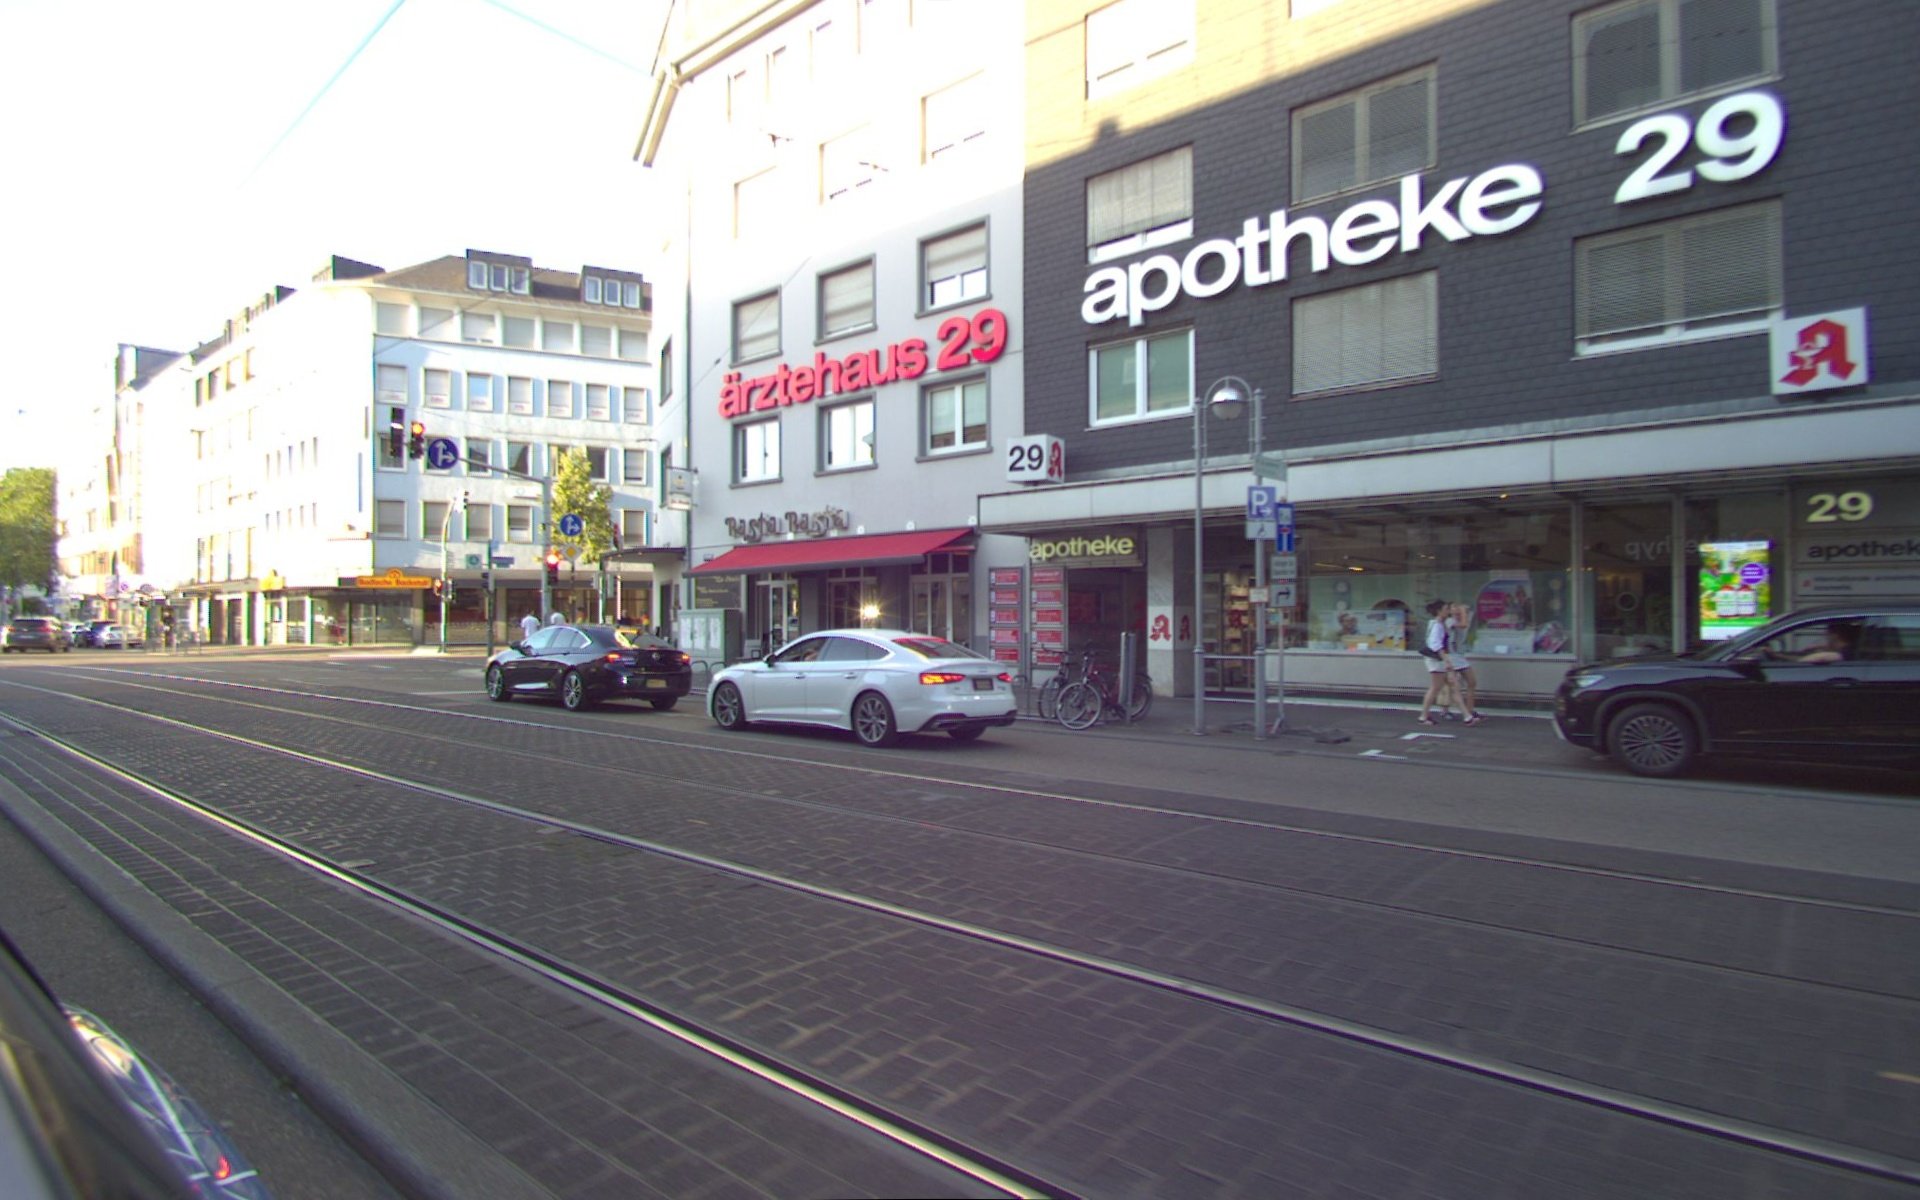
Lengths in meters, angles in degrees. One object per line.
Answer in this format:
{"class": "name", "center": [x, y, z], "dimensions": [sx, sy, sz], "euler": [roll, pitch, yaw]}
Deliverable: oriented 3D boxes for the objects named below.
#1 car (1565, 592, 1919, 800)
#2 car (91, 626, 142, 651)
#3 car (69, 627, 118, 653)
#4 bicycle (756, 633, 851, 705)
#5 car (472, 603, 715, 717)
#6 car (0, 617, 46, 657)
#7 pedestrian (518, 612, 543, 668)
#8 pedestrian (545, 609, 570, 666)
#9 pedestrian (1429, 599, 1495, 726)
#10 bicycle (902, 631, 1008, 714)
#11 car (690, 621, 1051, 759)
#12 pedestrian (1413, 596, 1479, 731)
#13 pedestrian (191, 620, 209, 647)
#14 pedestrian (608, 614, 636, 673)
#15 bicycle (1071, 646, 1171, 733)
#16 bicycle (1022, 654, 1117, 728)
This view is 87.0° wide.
{"class": "car", "center": [8.316, 0.782, 9.080], "dimensions": [4.646, 1.687, 1.909], "euler": [-2, -1, 43]}
{"class": "car", "center": [-46.269, 2.103, 55.484], "dimensions": [3.387, 1.263, 1.615], "euler": [-2, 0, 41]}
{"class": "car", "center": [-49.887, 2.307, 58.266], "dimensions": [3.387, 1.364, 1.615], "euler": [-2, 0, 41]}
{"class": "bicycle", "center": [-2.971, 1.293, 19.406], "dimensions": [0.553, 1.220, 1.871], "euler": [-1, 1, 40]}
{"class": "car", "center": [-6.505, 0.991, 17.700], "dimensions": [4.726, 1.740, 1.972], "euler": [-1, -3, 42]}
{"class": "car", "center": [-42.822, 1.660, 45.701], "dimensions": [4.257, 1.711, 1.804], "euler": [-2, -2, 41]}
{"class": "pedestrian", "center": [-13.631, 1.254, 32.104], "dimensions": [0.628, 1.758, 0.670], "euler": [0, -1, -34]}
{"class": "pedestrian", "center": [-12.973, 1.198, 32.612], "dimensions": [0.628, 1.792, 0.602], "euler": [1, -1, -36]}
{"class": "pedestrian", "center": [6.862, 0.831, 13.826], "dimensions": [0.624, 1.673, 0.675], "euler": [-2, -2, 40]}
{"class": "bicycle", "center": [-0.054, 1.207, 17.336], "dimensions": [0.553, 1.233, 2.090], "euler": [-1, 1, 40]}
{"class": "car", "center": [-1.294, 1.037, 13.119], "dimensions": [4.653, 1.464, 1.973], "euler": [-1, -3, 41]}
{"class": "pedestrian", "center": [6.408, 0.816, 13.340], "dimensions": [0.602, 1.712, 0.614], "euler": [-2, -2, 40]}
{"class": "pedestrian", "center": [-43.349, 1.902, 57.736], "dimensions": [0.621, 1.483, 0.539], "euler": [-2, 1, 25]}
{"class": "pedestrian", "center": [-9.817, 1.242, 29.391], "dimensions": [0.701, 1.689, 0.705], "euler": [0, -1, -25]}
{"class": "bicycle", "center": [2.324, 1.239, 14.451], "dimensions": [0.489, 1.055, 1.812], "euler": [-3, -1, 40]}
{"class": "bicycle", "center": [1.660, 1.329, 15.097], "dimensions": [0.455, 0.919, 1.787], "euler": [-3, -1, 40]}
